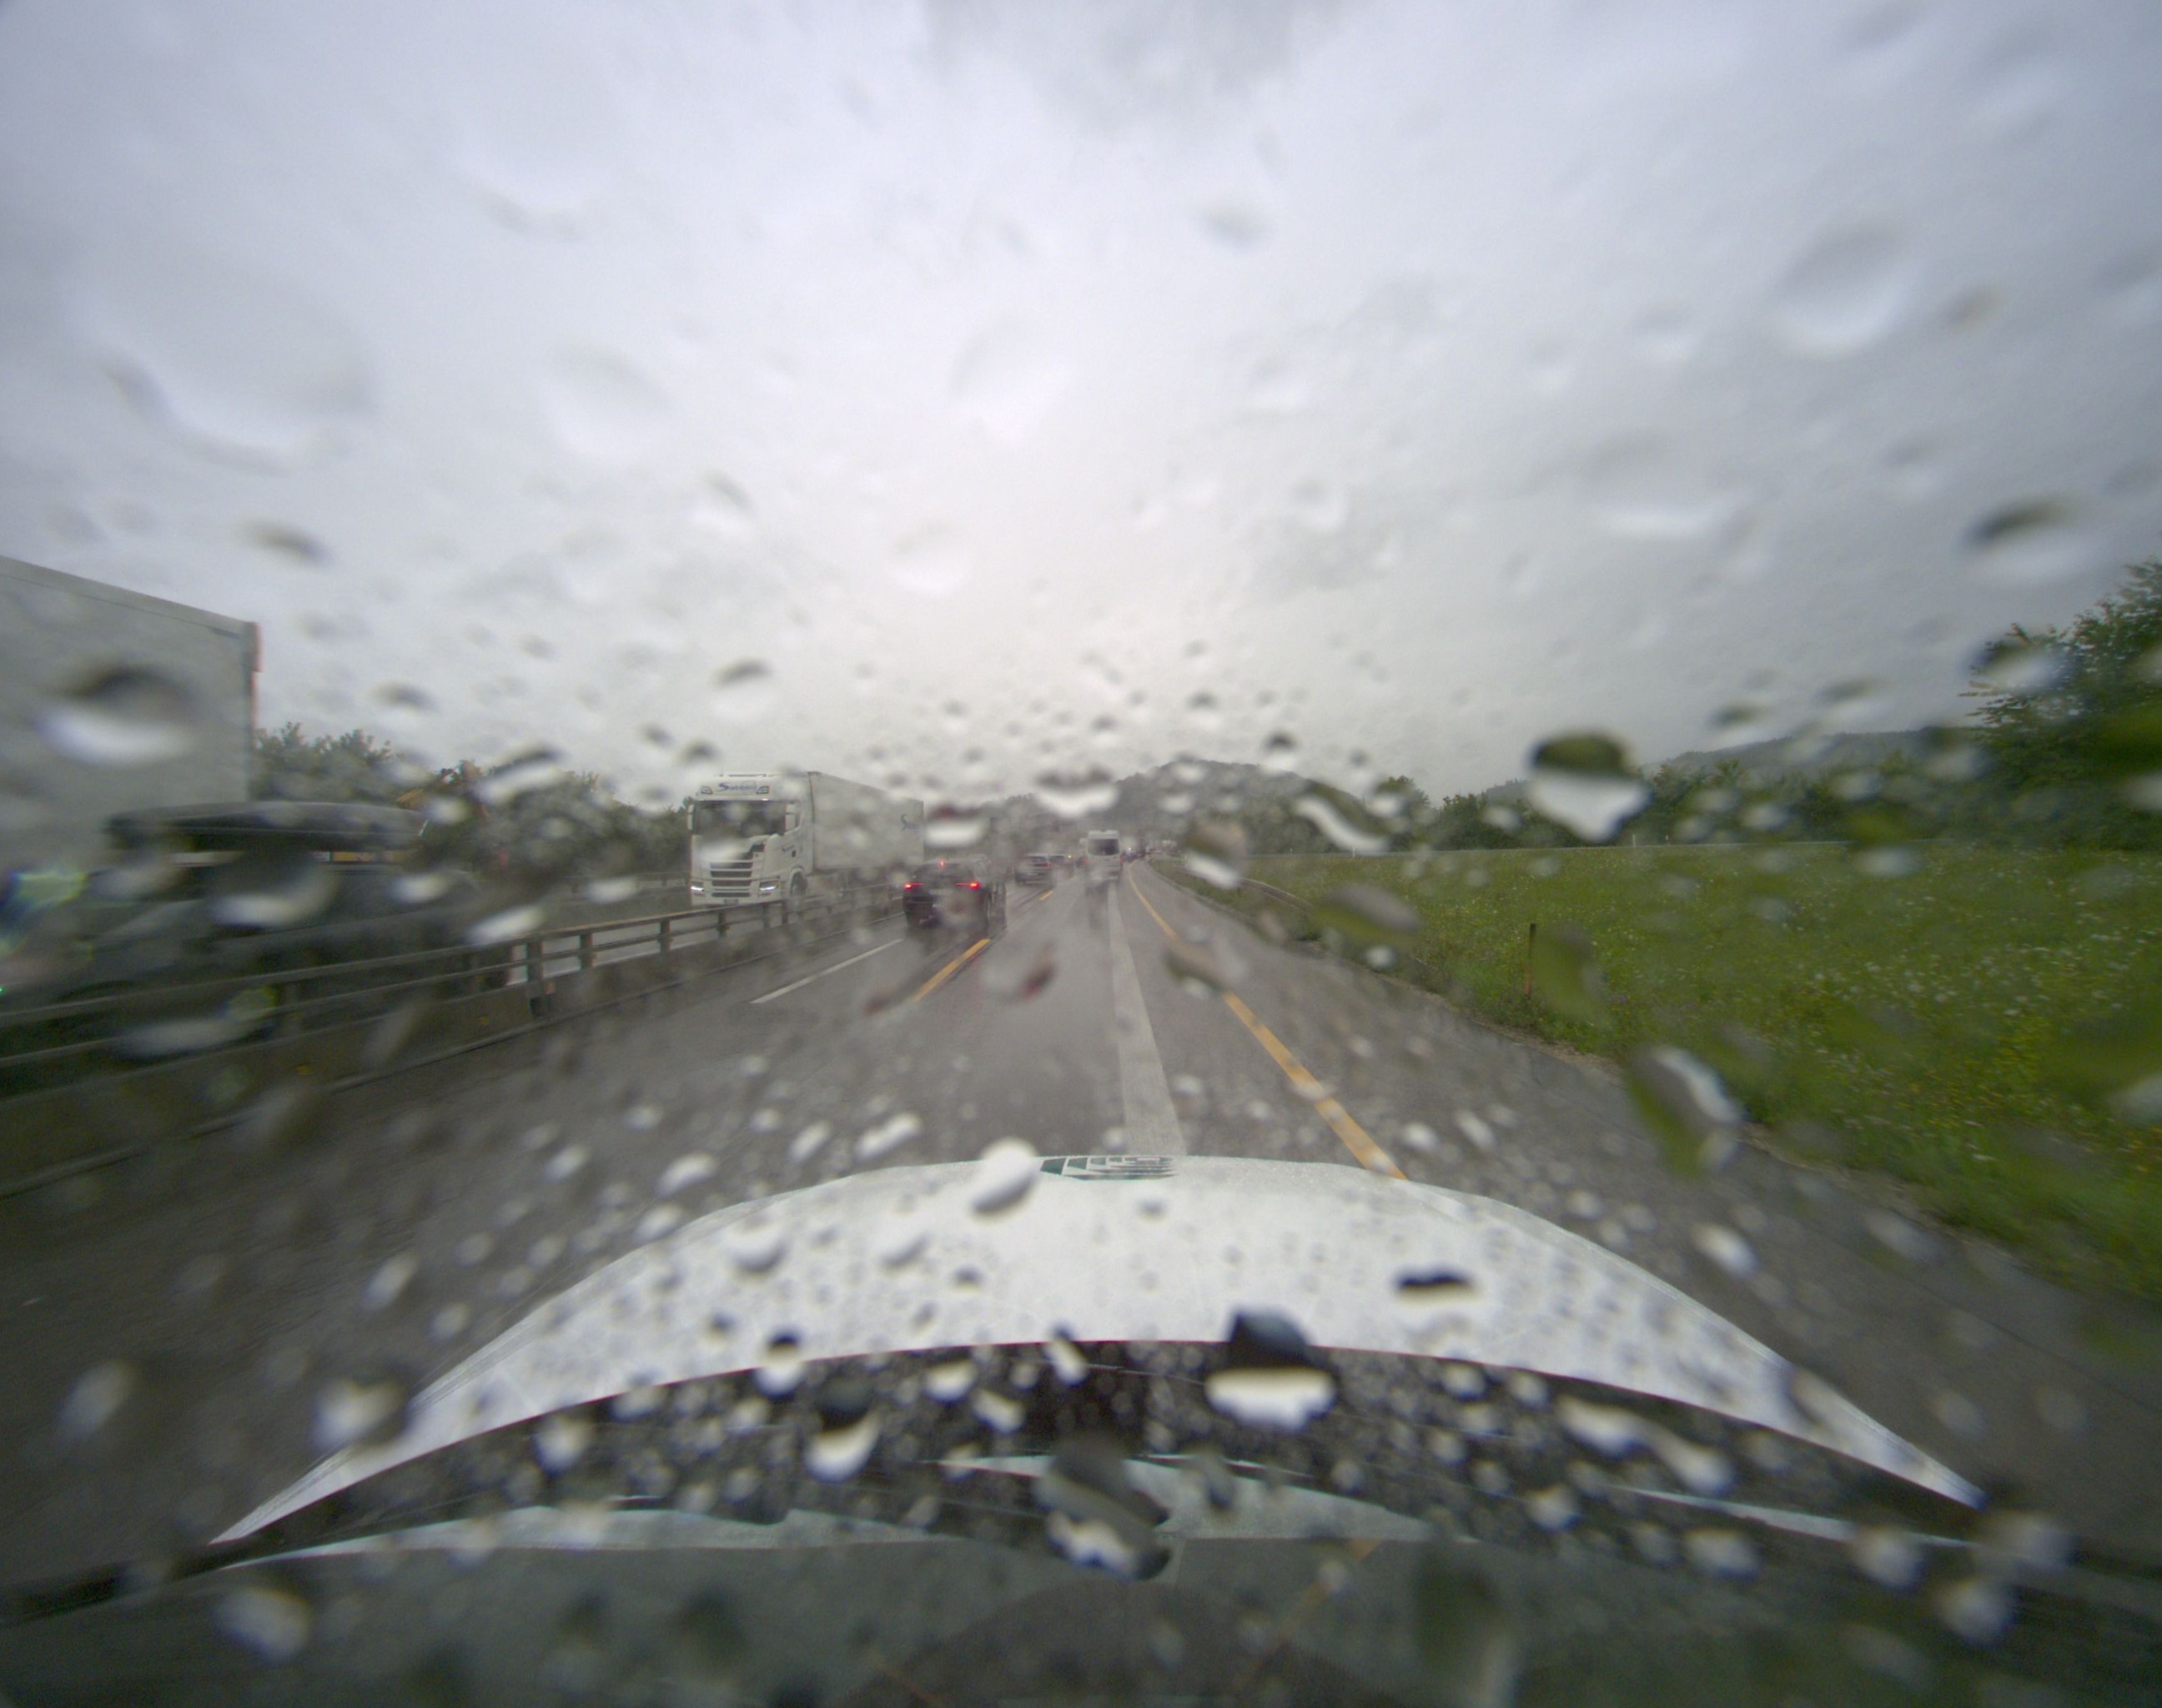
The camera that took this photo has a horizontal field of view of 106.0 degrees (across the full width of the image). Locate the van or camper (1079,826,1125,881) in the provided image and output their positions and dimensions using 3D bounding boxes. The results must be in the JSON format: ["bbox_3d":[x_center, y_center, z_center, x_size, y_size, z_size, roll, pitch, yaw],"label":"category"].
[{"bbox_3d":[1.043,-0.015,42.991,2.134,2.721,4.645,-1,0,-2],"label":"van or camper"}]

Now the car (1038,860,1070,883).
[{"bbox_3d":[-1.798,1.170,55.481,1.845,1.500,4.002,-1,0,2],"label":"car"}]

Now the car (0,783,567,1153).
[{"bbox_3d":[-6.449,0.578,6.286,1.986,1.884,4.435,-1,1,2],"label":"car"}]

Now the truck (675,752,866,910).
[{"bbox_3d":[-9.078,-0.643,24.853,2.873,4.101,6.929,-1,1,2],"label":"truck"}]

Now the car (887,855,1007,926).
[{"bbox_3d":[-2.924,0.741,18.841,1.932,1.427,4.760,0,0,0],"label":"car"}]

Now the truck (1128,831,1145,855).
[{"bbox_3d":[11.615,-2.251,169.260,3.305,4.785,9.919,0,0,5],"label":"truck"}]

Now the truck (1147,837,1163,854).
[{"bbox_3d":[21.282,-2.330,234.718,3.905,4.785,9.932,0,0,9],"label":"truck"}]

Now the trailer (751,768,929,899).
[{"bbox_3d":[-8.842,-0.729,32.123,2.896,4.089,12.226,-1,1,2],"label":"trailer"}]

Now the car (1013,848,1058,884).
[{"bbox_3d":[-2.175,0.558,39.847,1.861,1.659,3.988,-1,0,1],"label":"car"}]

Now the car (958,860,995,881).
[{"bbox_3d":[-7.736,1.215,60.661,1.986,1.505,4.298,-1,0,2],"label":"car"}]

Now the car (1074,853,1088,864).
[{"bbox_3d":[0.023,0.419,82.280,1.258,1.078,3.255,-1,0,1],"label":"car"}]

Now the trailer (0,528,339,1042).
[{"bbox_3d":[-9.838,-0.468,2.889,2.485,4.049,12.592,-2,1,2],"label":"trailer"}]

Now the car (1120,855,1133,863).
[{"bbox_3d":[5.959,0.656,107.135,1.381,1.078,3.120,-1,0,-2],"label":"car"}]

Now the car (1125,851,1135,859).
[{"bbox_3d":[7.717,0.218,128.466,1.379,1.256,3.123,-1,0,1],"label":"car"}]

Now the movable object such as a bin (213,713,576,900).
[{"bbox_3d":[-25.155,-1.488,31.307,4.154,5.915,11.052,0,0,3],"label":"movable object such as a bin"}]
